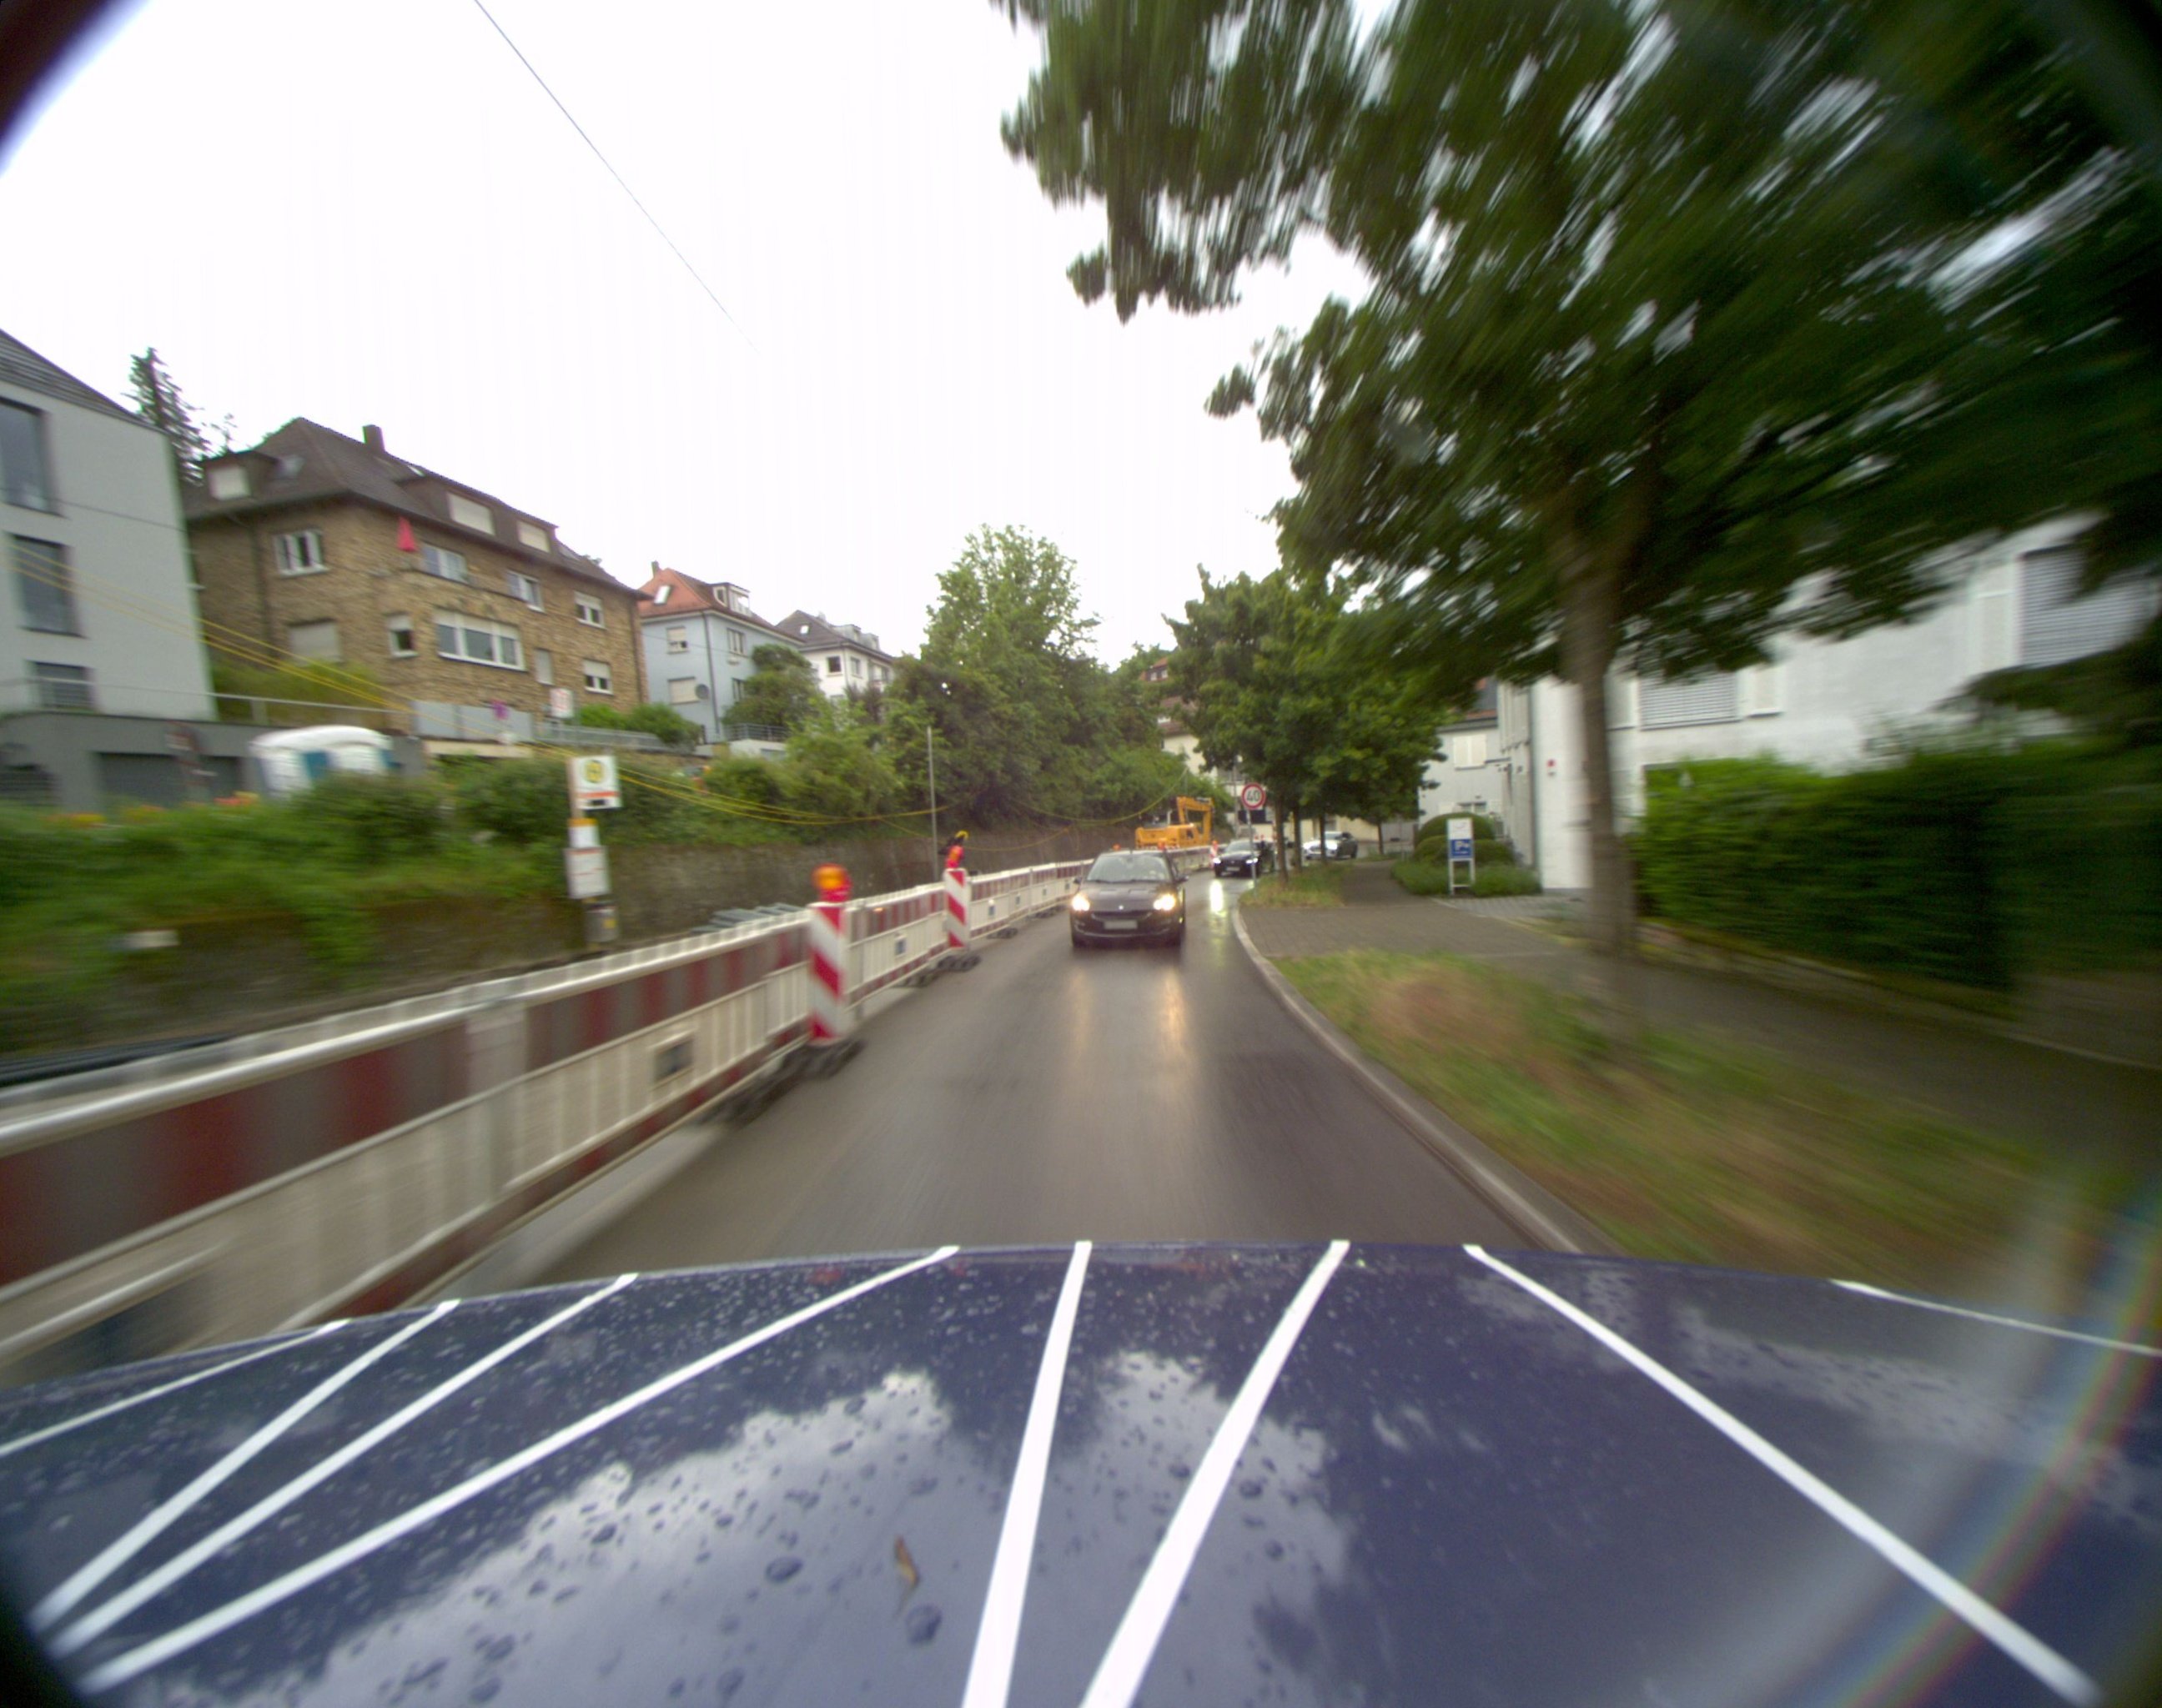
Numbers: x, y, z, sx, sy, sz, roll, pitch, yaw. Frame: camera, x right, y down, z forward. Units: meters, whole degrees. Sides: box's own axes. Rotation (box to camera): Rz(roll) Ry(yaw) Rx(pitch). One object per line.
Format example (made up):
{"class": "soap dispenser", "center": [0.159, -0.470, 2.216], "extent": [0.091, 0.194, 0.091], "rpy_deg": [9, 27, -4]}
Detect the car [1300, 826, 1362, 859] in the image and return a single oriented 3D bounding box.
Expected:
{"class": "car", "center": [14.774, -0.729, 44.814], "extent": [1.996, 1.699, 4.582], "rpy_deg": [-1, 2, 38]}

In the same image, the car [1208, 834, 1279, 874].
{"class": "car", "center": [6.779, -0.030, 31.362], "extent": [1.840, 1.395, 4.077], "rpy_deg": [-2, 2, 27]}

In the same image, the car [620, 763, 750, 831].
{"class": "car", "center": [-15.146, -2.284, 29.387], "extent": [1.898, 2.070, 4.424], "rpy_deg": [-2, 10, 11]}

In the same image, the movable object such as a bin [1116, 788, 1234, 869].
{"class": "movable object such as a bin", "center": [5.119, -1.378, 39.930], "extent": [3.323, 3.818, 7.215], "rpy_deg": [-1, 2, 32]}

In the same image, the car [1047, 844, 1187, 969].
{"class": "car", "center": [0.780, 0.659, 12.178], "extent": [1.673, 1.458, 4.717], "rpy_deg": [-3, 2, 9]}
